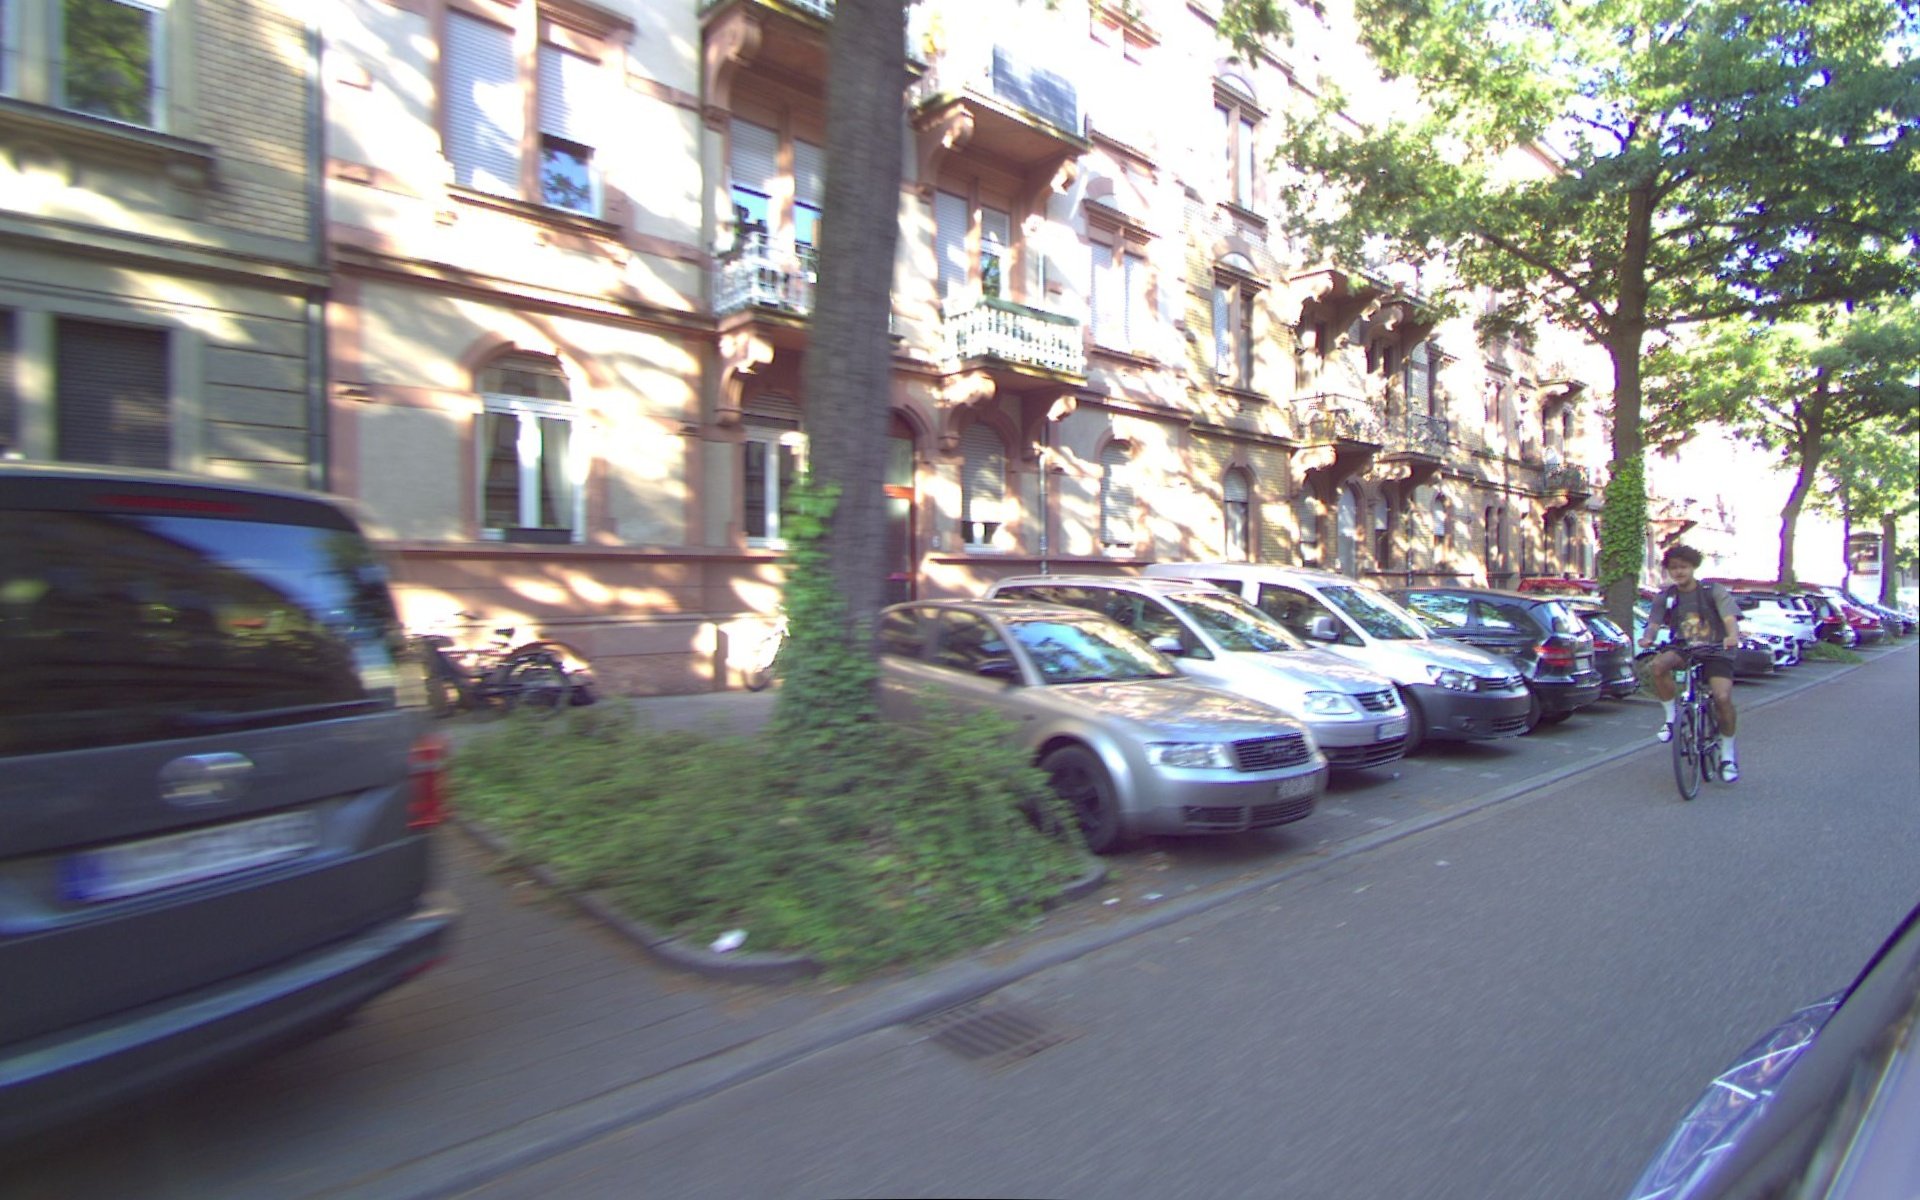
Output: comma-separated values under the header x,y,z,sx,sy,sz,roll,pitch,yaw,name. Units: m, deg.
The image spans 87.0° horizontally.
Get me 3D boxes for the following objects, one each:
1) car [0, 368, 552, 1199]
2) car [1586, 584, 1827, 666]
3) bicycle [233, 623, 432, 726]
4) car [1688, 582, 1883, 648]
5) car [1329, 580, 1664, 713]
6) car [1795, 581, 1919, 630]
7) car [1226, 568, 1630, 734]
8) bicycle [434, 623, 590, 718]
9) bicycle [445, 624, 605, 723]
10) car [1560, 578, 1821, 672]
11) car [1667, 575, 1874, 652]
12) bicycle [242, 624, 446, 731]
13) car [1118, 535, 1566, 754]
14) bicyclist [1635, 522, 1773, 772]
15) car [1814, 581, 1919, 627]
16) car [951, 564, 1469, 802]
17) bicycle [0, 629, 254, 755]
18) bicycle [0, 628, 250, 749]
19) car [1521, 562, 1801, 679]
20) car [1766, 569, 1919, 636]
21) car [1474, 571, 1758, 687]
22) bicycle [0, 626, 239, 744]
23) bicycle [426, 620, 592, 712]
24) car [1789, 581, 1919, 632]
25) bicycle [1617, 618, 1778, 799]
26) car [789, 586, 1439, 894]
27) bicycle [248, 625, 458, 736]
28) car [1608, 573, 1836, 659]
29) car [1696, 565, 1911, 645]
x,y,z,sx,sy,sz,roll,pitch,yaw,name
-3.846,0.421,3.569,4.633,1.914,1.890,2,1,27,car
16.771,0.487,22.906,1.749,1.499,4.056,0,3,-40,car
-5.864,0.666,9.519,1.552,0.866,0.362,0,0,-42,bicycle
23.752,0.371,29.237,1.750,1.473,4.056,0,5,-41,car
7.523,0.541,14.447,1.709,1.478,3.839,0,3,-43,car
34.943,0.204,38.916,1.750,1.548,4.056,0,5,-41,car
5.686,0.481,12.710,1.709,1.607,4.237,0,3,-43,car
-4.497,0.680,10.217,1.386,0.866,0.399,0,0,-42,bicycle
-4.207,0.683,9.849,1.386,0.866,0.399,0,0,-42,bicycle
15.052,0.434,21.025,1.749,1.599,4.056,0,3,-40,car
21.881,0.296,27.444,1.750,1.641,4.057,0,5,-41,car
-5.578,0.669,9.228,1.552,0.866,0.362,0,0,-42,bicycle
3.929,0.413,11.029,1.751,1.910,4.238,0,-1,-41,car
6.128,0.351,8.325,1.101,1.899,0.711,0,0,-42,bicyclist
36.861,0.157,40.305,1.750,1.548,4.056,0,5,-41,car
2.055,0.521,9.232,1.872,1.623,4.235,0,2,-44,car
-6.468,0.680,7.887,1.552,0.866,0.343,0,0,-42,bicycle
-6.713,0.677,8.189,1.552,0.866,0.343,0,0,-42,bicycle
13.298,0.292,19.403,1.749,1.909,4.056,0,3,-40,car
31.221,0.038,35.657,1.750,1.956,4.056,0,5,-41,car
11.446,0.408,17.862,1.708,1.703,3.843,0,3,-40,car
-6.991,0.675,8.454,1.552,0.866,0.343,0,0,-42,bicycle
-4.686,0.658,10.576,1.552,0.866,0.362,0,0,-42,bicycle
33.455,0.216,37.403,1.750,1.548,4.056,0,5,-41,car
6.080,0.811,8.304,1.855,1.276,0.711,0,1,-43,bicycle
0.748,0.657,7.236,1.869,1.385,4.467,0,2,-40,car
-5.318,0.672,8.928,1.552,0.866,0.362,0,0,-42,bicycle
18.354,0.319,24.514,1.750,1.641,4.057,0,5,-41,car
25.620,0.078,30.898,1.892,2.001,4.698,0,5,-41,car
